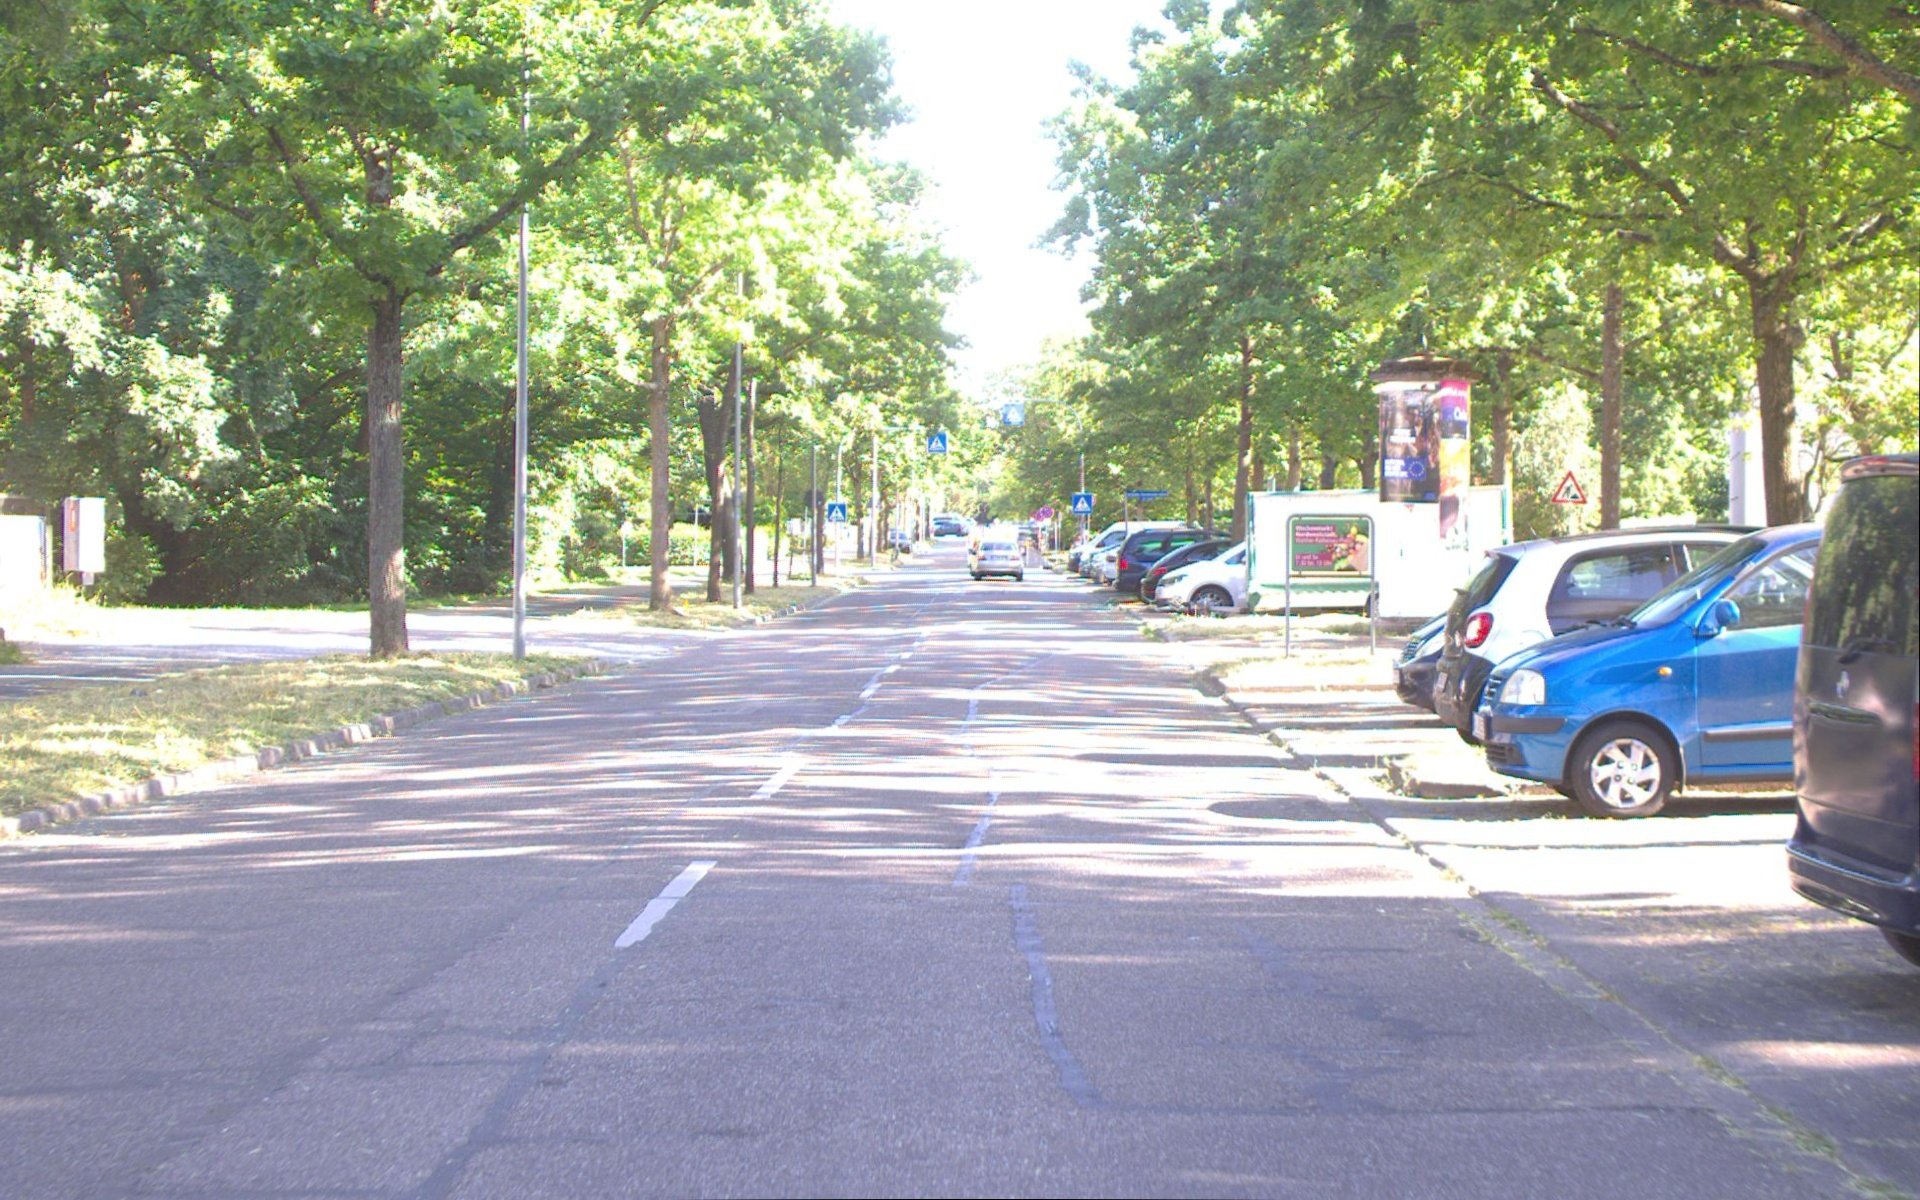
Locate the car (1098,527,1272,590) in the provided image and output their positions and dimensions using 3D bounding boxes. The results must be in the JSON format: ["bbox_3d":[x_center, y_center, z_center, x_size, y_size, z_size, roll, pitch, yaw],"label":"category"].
[{"bbox_3d":[6.178,-1.157,94.798,4.671,1.575,1.917,-1,1,2],"label":"car"}]

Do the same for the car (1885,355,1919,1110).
[{"bbox_3d":[4.962,0.334,8.502,4.803,2.025,1.944,-1,1,1],"label":"car"}]

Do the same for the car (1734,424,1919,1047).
[{"bbox_3d":[4.730,0.330,11.055,4.008,1.830,1.799,-2,1,-2],"label":"car"}]

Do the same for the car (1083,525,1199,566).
[{"bbox_3d":[6.316,-1.911,120.151,3.987,1.428,1.901,0,1,3],"label":"car"}]

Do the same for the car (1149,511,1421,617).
[{"bbox_3d":[5.723,-0.642,60.944,4.642,1.716,1.987,-2,1,2],"label":"car"}]

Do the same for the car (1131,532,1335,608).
[{"bbox_3d":[5.819,-0.659,73.640,4.245,1.513,2.078,-1,1,2],"label":"car"}]

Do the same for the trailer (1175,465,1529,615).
[{"bbox_3d":[6.576,-1.015,58.115,5.775,2.309,1.686,-2,1,3],"label":"trailer"}]

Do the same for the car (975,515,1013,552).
[{"bbox_3d":[1.822,-3.580,183.780,1.993,1.926,4.000,1,1,0],"label":"car"}]

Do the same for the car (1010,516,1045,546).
[{"bbox_3d":[3.990,-4.106,204.735,1.993,1.710,4.000,1,1,0],"label":"car"}]

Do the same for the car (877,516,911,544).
[{"bbox_3d":[-4.063,-4.310,211.008,1.993,1.710,4.000,1,1,0],"label":"car"}]

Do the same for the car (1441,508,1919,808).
[{"bbox_3d":[4.520,0.279,18.953,3.521,1.527,1.665,-2,1,3],"label":"car"}]

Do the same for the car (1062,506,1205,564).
[{"bbox_3d":[6.442,-2.433,127.917,5.187,2.098,2.083,0,1,-1],"label":"car"}]

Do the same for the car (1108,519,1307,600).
[{"bbox_3d":[5.770,-0.960,80.536,4.530,1.795,1.936,-1,1,1],"label":"car"}]

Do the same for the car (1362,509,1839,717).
[{"bbox_3d":[5.255,0.090,28.547,3.583,1.571,1.857,-2,1,0],"label":"car"}]

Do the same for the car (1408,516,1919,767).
[{"bbox_3d":[4.963,0.255,23.557,3.583,1.571,1.786,-2,1,3],"label":"car"}]

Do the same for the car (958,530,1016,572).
[{"bbox_3d":[0.946,-1.744,122.497,1.993,1.479,4.000,0,1,-1],"label":"car"}]
